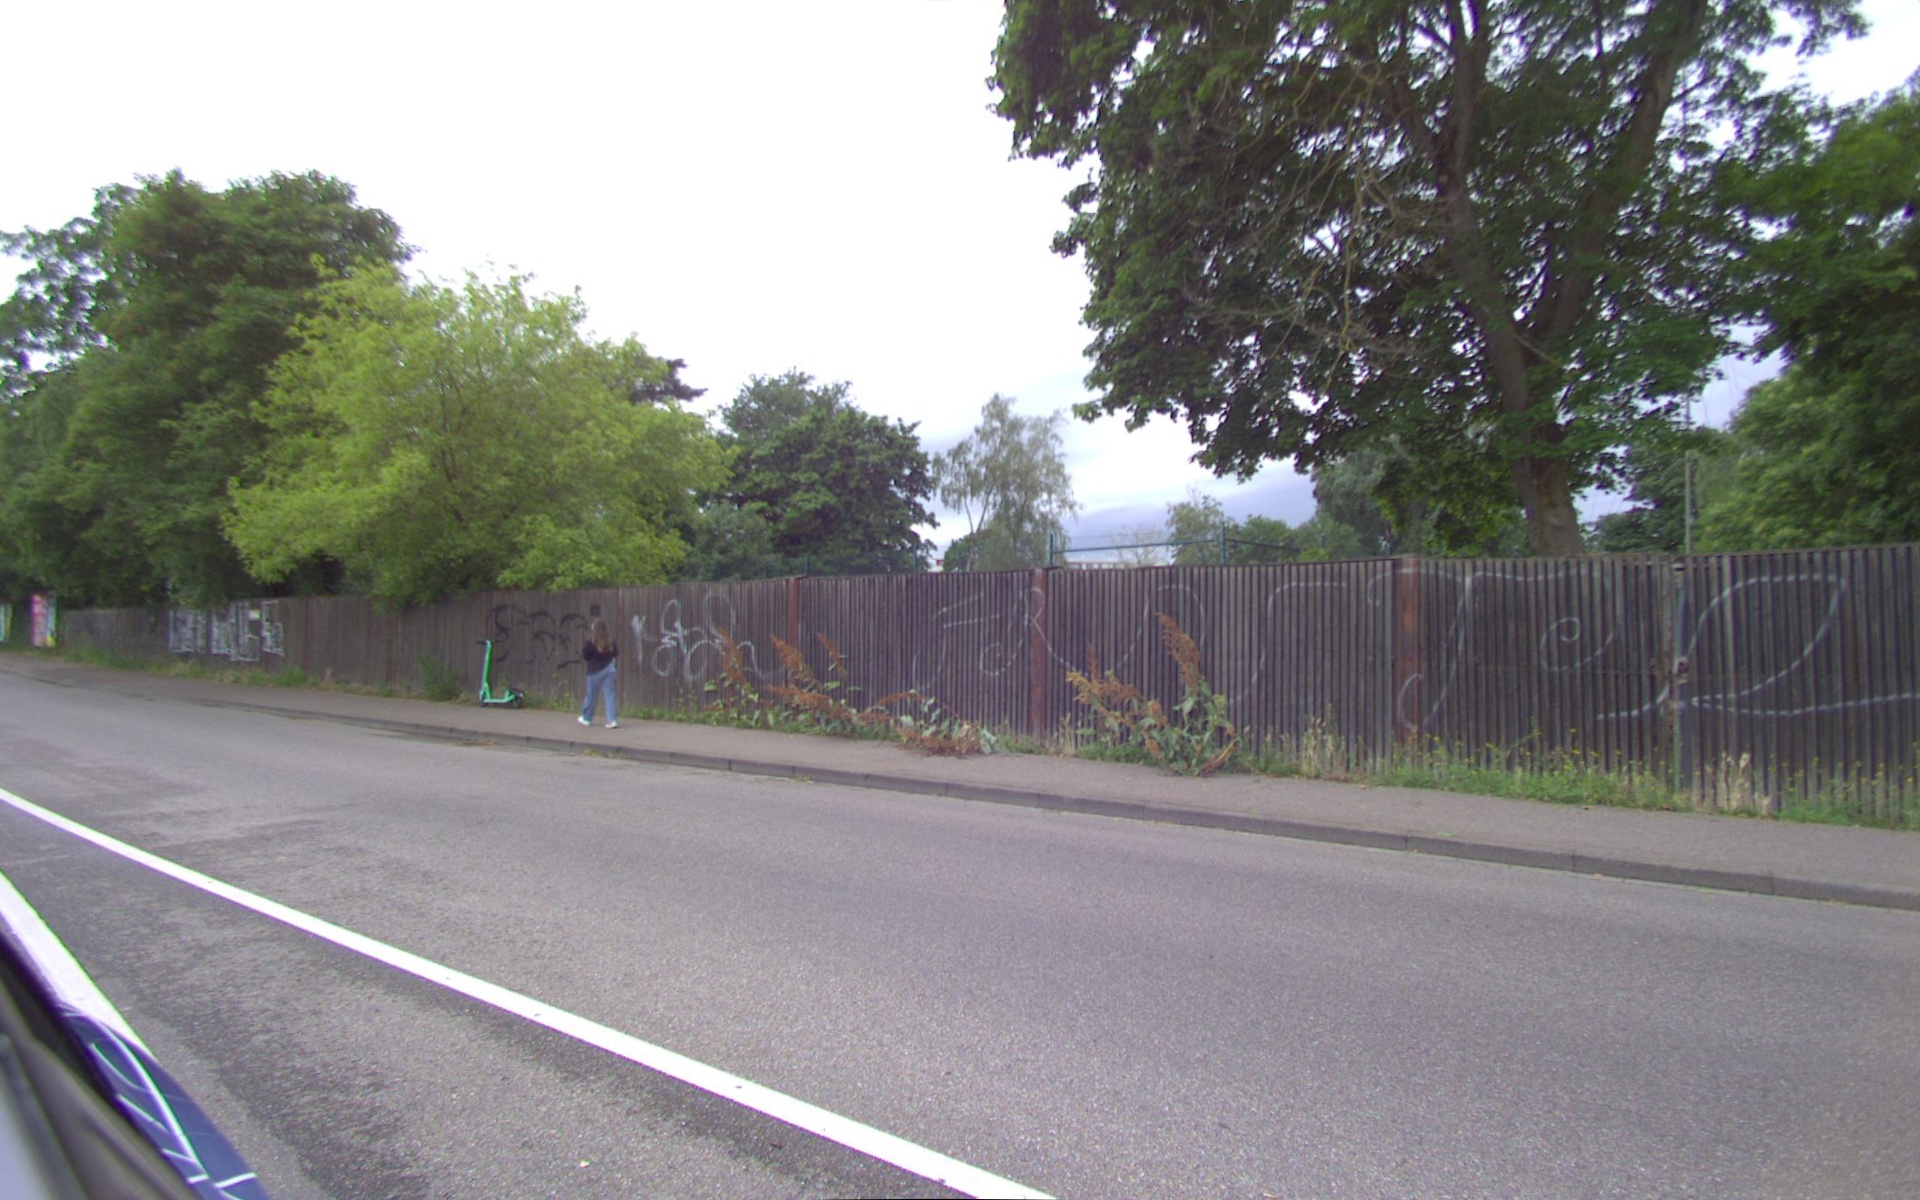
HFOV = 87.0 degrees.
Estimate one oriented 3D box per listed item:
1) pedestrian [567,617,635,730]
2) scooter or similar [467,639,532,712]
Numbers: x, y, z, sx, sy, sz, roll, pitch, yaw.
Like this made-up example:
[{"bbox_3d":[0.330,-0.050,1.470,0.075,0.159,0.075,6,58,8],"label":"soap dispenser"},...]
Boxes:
[{"bbox_3d":[-5.066,1.011,14.290,0.723,1.541,0.606,-1,-2,36],"label":"pedestrian"},{"bbox_3d":[-7.823,1.265,17.175,1.301,1.179,0.419,-1,-2,36],"label":"scooter or similar"}]
